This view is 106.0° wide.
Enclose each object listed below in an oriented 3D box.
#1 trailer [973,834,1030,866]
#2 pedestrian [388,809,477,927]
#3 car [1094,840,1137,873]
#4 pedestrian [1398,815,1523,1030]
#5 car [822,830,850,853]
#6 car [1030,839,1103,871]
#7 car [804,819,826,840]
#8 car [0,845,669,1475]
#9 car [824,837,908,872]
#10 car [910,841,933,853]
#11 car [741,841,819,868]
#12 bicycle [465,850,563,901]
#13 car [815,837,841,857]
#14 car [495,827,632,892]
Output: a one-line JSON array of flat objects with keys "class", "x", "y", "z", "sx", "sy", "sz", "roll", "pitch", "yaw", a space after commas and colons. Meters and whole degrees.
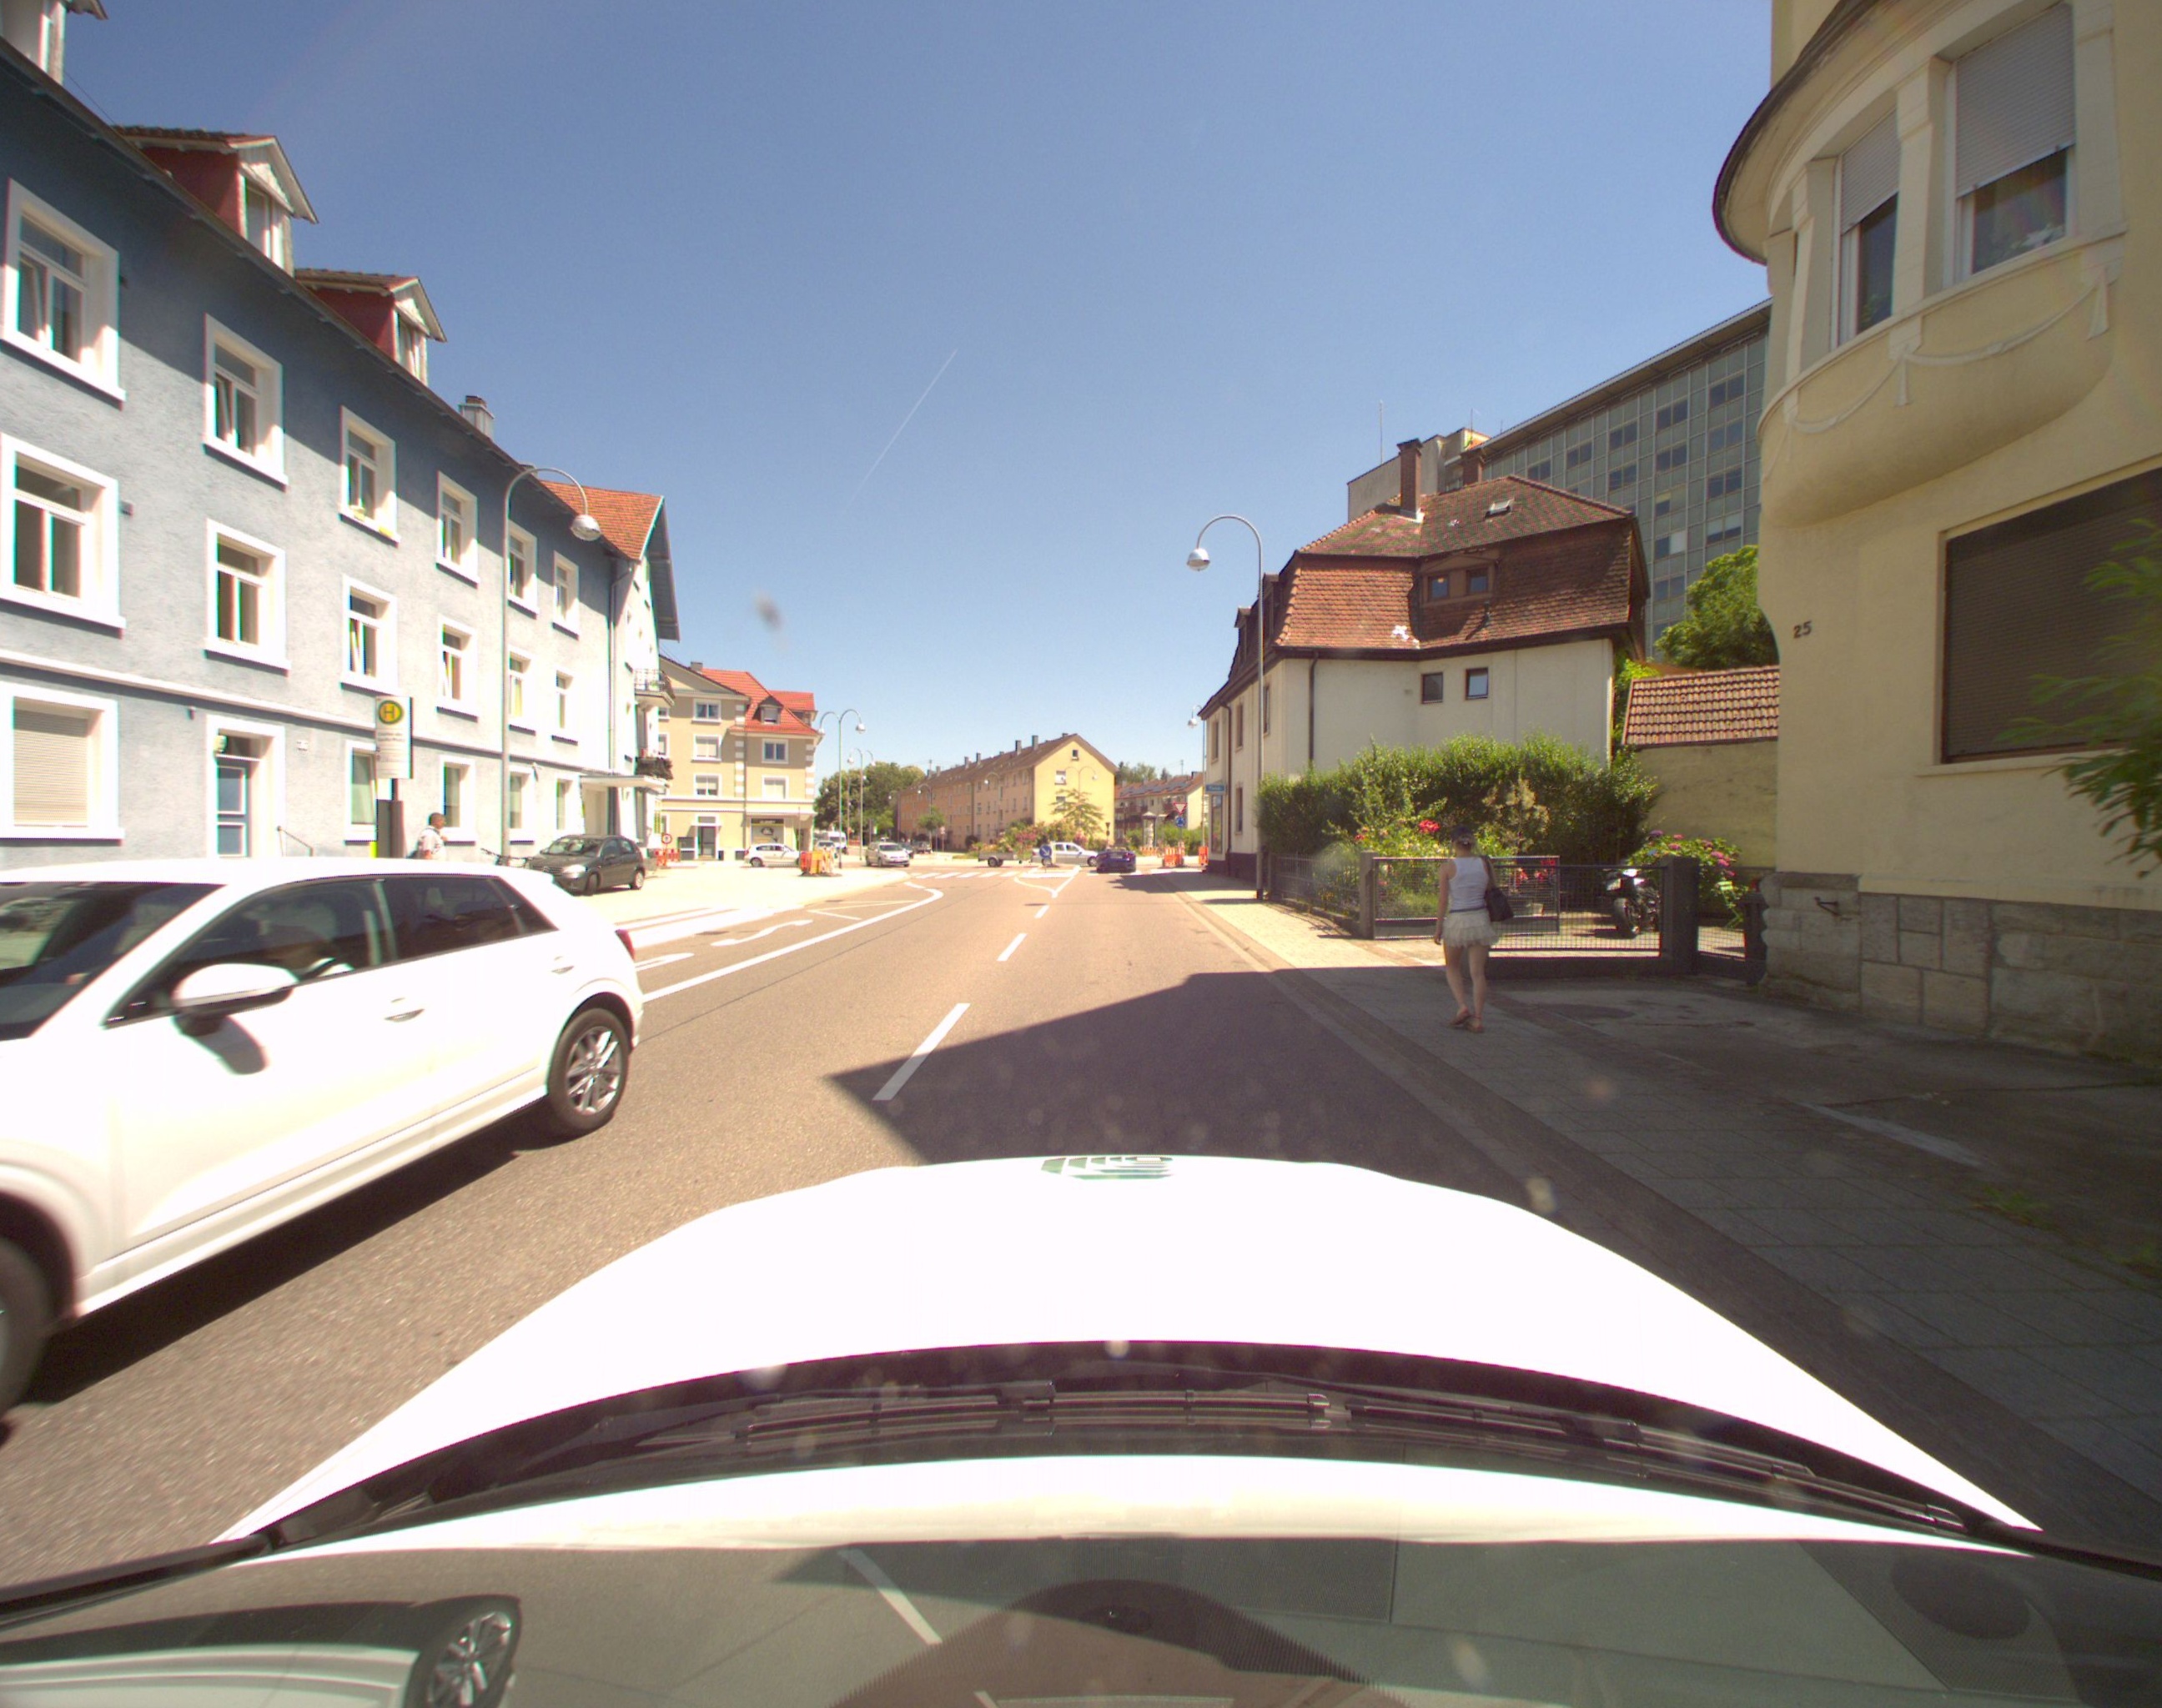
[{"class": "trailer", "x": -4.549, "y": -0.220, "z": 46.845, "sx": 3.181, "sy": 1.717, "sz": 1.754, "roll": 1, "pitch": 0, "yaw": -5}, {"class": "pedestrian", "x": -10.601, "y": 0.220, "z": 13.333, "sx": 0.755, "sy": 1.848, "sz": 0.770, "roll": 3, "pitch": 0, "yaw": -7}, {"class": "car", "x": 1.644, "y": 0.144, "z": 39.970, "sx": 1.865, "sy": 1.530, "sz": 4.504, "roll": 0, "pitch": -1, "yaw": -1}, {"class": "pedestrian", "x": 3.074, "y": 0.523, "z": 6.651, "sx": 0.621, "sy": 1.644, "sz": 0.771, "roll": -1, "pitch": 0, "yaw": -2}, {"class": "car", "x": -27.648, "y": -1.388, "z": 91.797, "sx": 2.154, "sy": 2.533, "sz": 6.188, "roll": 2, "pitch": 0, "yaw": -24}, {"class": "car", "x": -0.854, "y": 0.043, "z": 47.203, "sx": 4.107, "sy": 1.747, "sz": 1.785, "roll": 1, "pitch": 0, "yaw": -4}, {"class": "car", "x": -34.817, "y": -3.197, "z": 106.687, "sx": 2.154, "sy": 2.533, "sz": 4.816, "roll": 2, "pitch": 0, "yaw": -24}, {"class": "car", "x": -3.516, "y": 0.755, "z": 3.112, "sx": 1.814, "sy": 1.530, "sz": 3.950, "roll": 0, "pitch": -1, "yaw": 0}, {"class": "car", "x": -12.689, "y": -0.008, "z": 48.296, "sx": 4.372, "sy": 1.529, "sz": 1.841, "roll": -6, "pitch": 3, "yaw": -5}, {"class": "car", "x": -19.741, "y": -0.883, "z": 100.738, "sx": 1.822, "sy": 1.500, "sz": 3.964, "roll": 1, "pitch": 0, "yaw": -28}, {"class": "car", "x": -18.144, "y": 0.022, "z": 49.291, "sx": 4.116, "sy": 1.551, "sz": 1.781, "roll": 1, "pitch": 0, "yaw": -11}, {"class": "bicycle", "x": -11.997, "y": 0.439, "z": 17.315, "sx": 0.493, "sy": 0.977, "sz": 1.976, "roll": 4, "pitch": 0, "yaw": 6}, {"class": "car", "x": -21.872, "y": -0.614, "z": 70.208, "sx": 1.783, "sy": 1.685, "sz": 4.660, "roll": 0, "pitch": 1, "yaw": -22}, {"class": "car", "x": -13.252, "y": 0.154, "z": 21.124, "sx": 1.577, "sy": 1.534, "sz": 3.764, "roll": 0, "pitch": -1, "yaw": -9}]
